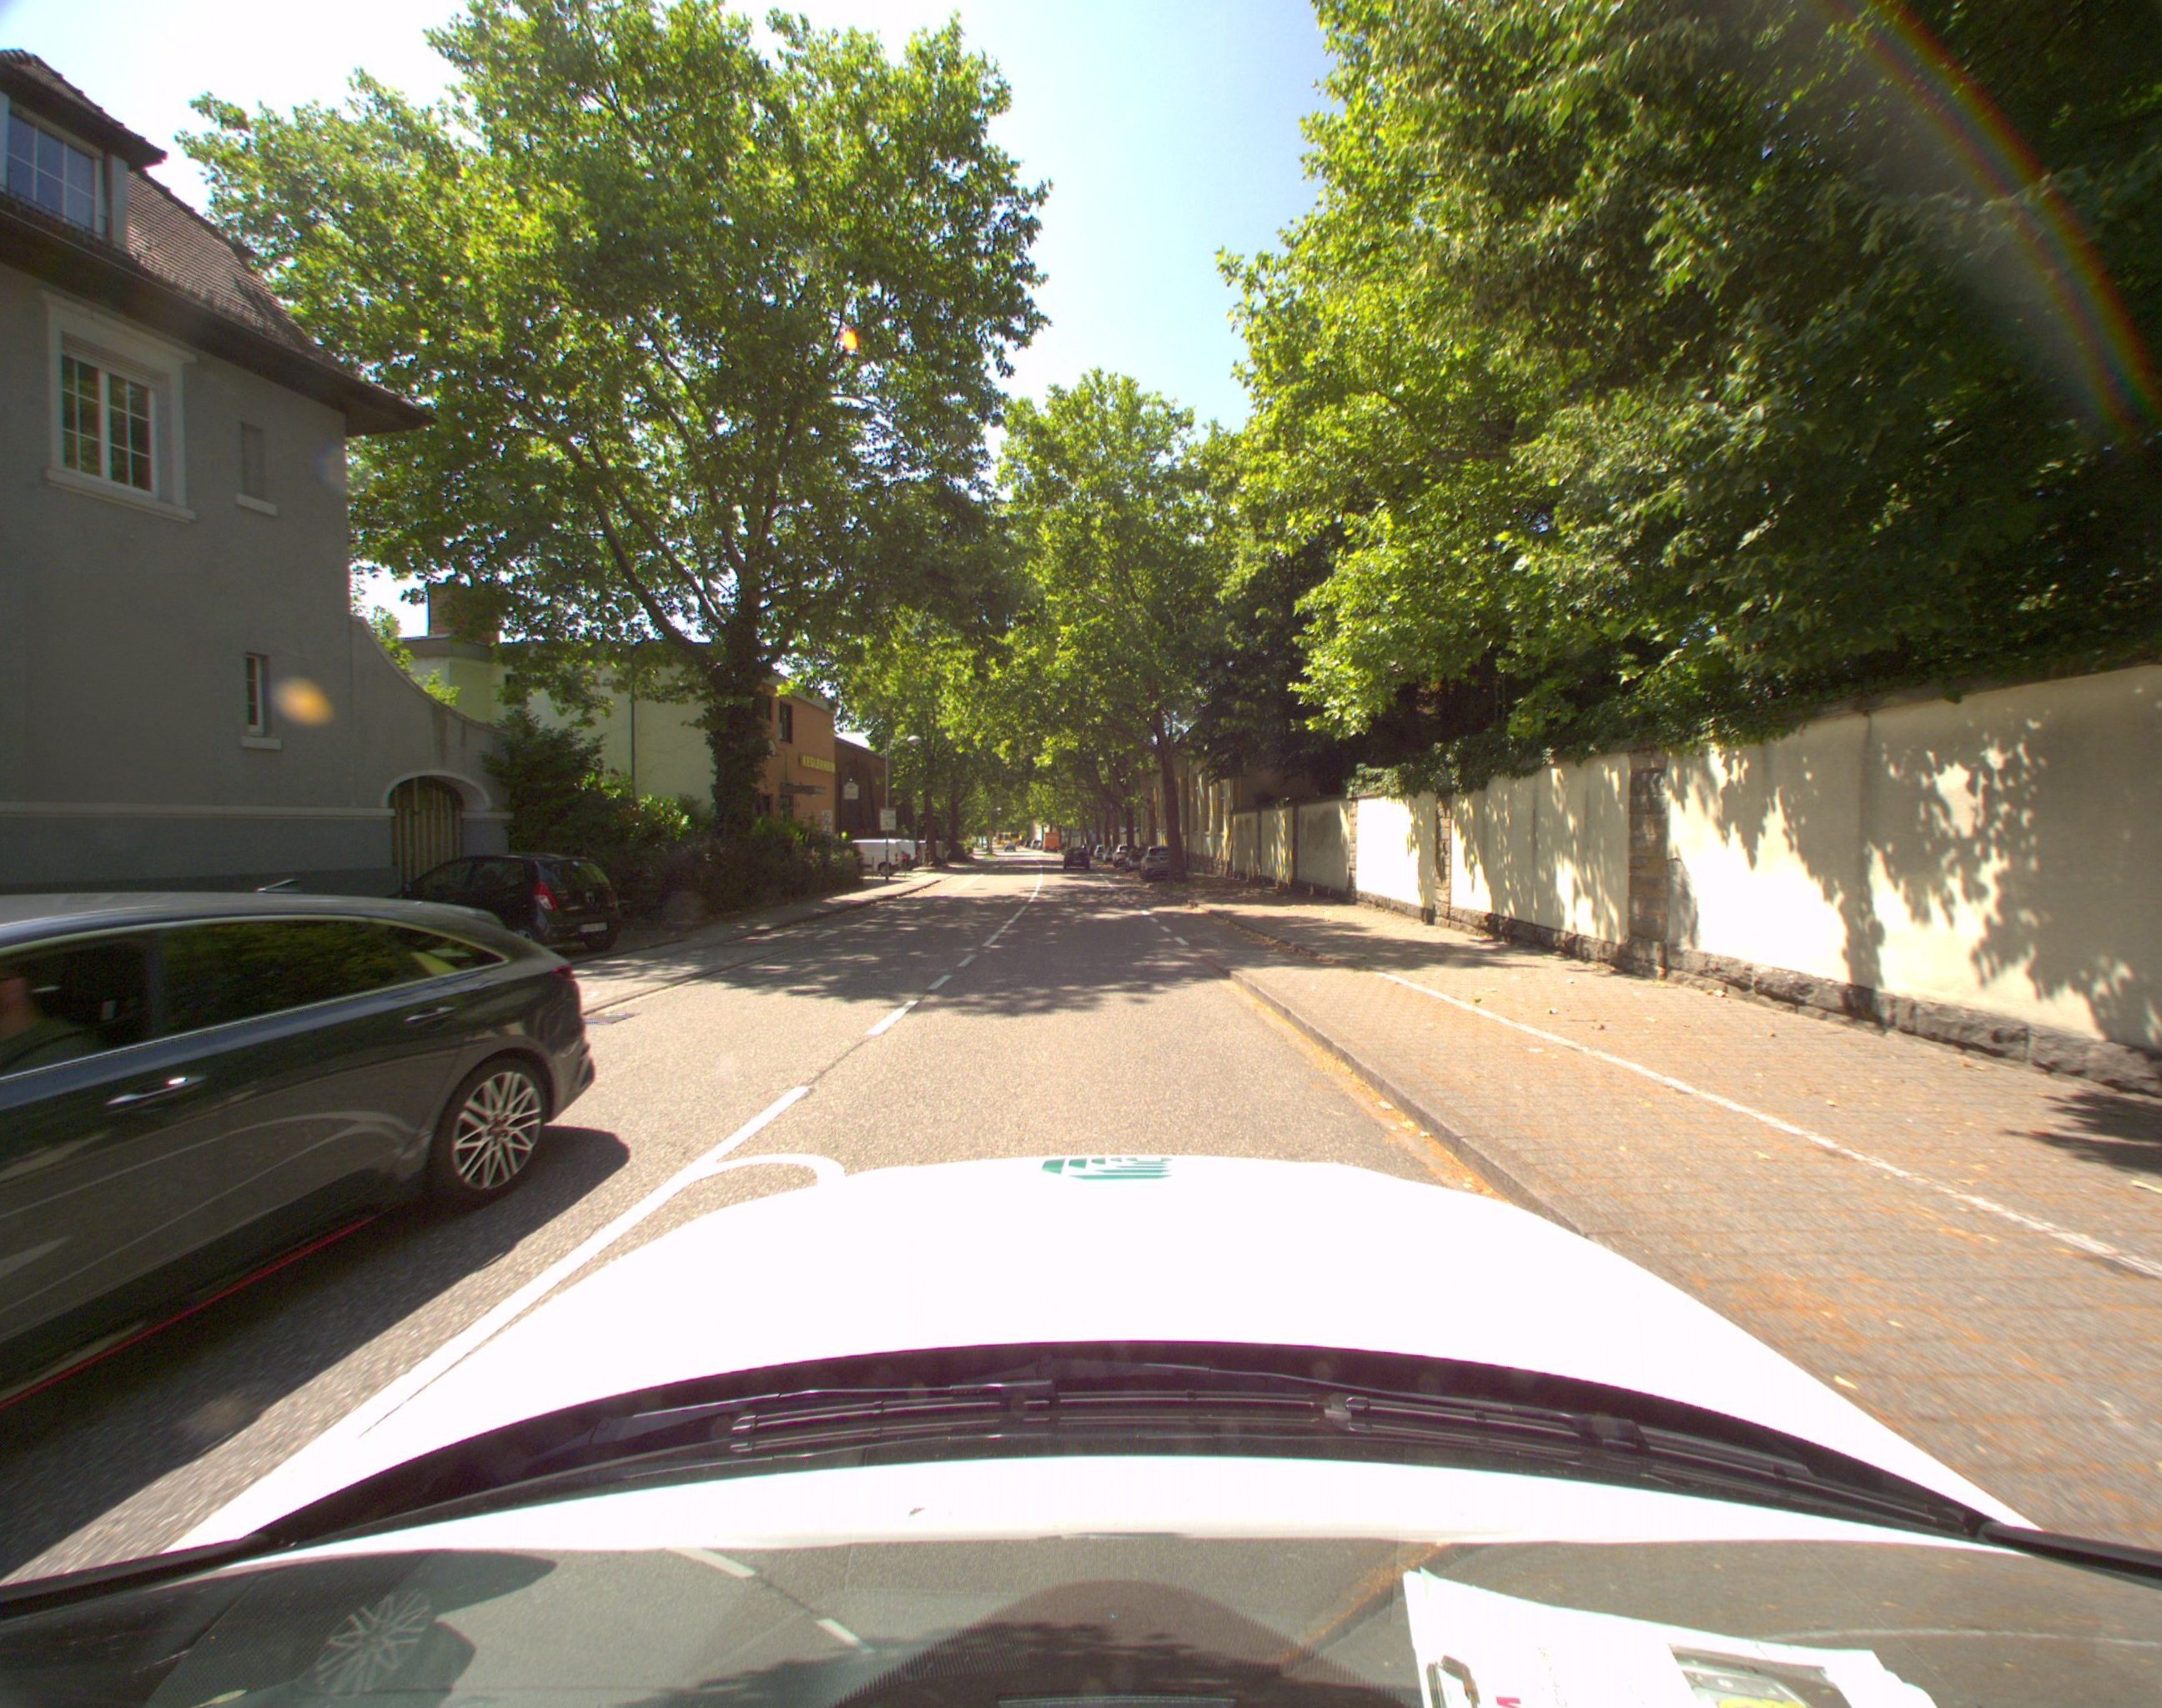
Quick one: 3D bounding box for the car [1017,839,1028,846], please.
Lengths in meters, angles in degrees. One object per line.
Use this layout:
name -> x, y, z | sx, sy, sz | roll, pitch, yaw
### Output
car -> -12.600, -2.409, 174.651 | 1.769, 1.374, 3.712 | -3, 1, -14

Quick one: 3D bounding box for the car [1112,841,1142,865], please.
car -> 3.373, -0.117, 60.584 | 1.803, 1.689, 4.749 | -2, 1, -1

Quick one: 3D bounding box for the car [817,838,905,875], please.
car -> -11.086, 0.106, 41.289 | 3.980, 1.792, 1.865 | 1, 1, -5

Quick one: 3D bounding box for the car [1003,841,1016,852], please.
car -> -12.126, -1.263, 137.441 | 1.992, 1.666, 3.990 | -1, 0, -7

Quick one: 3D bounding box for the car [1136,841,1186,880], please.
car -> 3.595, 0.242, 37.276 | 1.735, 1.557, 4.780 | -3, 2, 0

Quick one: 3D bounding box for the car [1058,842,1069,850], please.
car -> -3.117, -1.337, 143.511 | 1.764, 1.374, 3.722 | -1, 1, -6

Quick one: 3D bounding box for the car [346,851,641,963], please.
car -> -8.918, 0.770, 12.509 | 3.362, 1.546, 1.728 | -1, 1, 8

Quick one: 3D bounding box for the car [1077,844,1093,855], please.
car -> 0.522, -0.606, 108.086 | 1.764, 1.374, 3.722 | -2, 1, -6

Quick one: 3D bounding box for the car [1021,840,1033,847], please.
car -> -10.886, -2.042, 164.454 | 1.769, 1.374, 3.712 | -3, 1, -14

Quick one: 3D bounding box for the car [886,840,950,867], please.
car -> -11.265, -0.060, 56.448 | 4.121, 1.804, 1.900 | 1, 1, -5

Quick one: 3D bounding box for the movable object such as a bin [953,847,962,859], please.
movable object such as a bin -> -11.330, -0.140, 74.844 | 0.733, 1.078, 0.701 | -1, 1, -2

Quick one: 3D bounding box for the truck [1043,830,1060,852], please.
truck -> -4.532, -1.933, 124.331 | 2.366, 3.134, 5.761 | -1, 0, -4

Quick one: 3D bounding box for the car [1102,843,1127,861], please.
car -> 2.886, -0.183, 71.254 | 1.762, 1.433, 3.871 | -2, 1, -3

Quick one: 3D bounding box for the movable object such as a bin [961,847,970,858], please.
movable object such as a bin -> -10.613, -0.141, 74.804 | 0.621, 1.048, 0.621 | -1, 1, 2

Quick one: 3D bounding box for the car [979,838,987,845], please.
car -> -23.176, -2.890, 191.683 | 1.710, 1.447, 4.046 | -2, 1, -8

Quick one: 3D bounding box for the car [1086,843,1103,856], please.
car -> 1.628, -0.542, 98.418 | 1.762, 1.465, 3.871 | -2, 1, -3

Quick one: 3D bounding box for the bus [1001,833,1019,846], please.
bus -> -17.347, -3.473, 197.405 | 2.667, 3.150, 11.145 | -2, 1, -14

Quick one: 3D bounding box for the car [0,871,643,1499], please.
car -> -3.494, 0.865, 2.454 | 1.761, 1.426, 4.396 | -1, 1, 3

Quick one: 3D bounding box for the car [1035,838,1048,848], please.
car -> -7.027, -1.999, 144.632 | 1.879, 1.685, 3.988 | -1, 0, -9

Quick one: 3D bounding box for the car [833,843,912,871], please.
car -> -11.669, 0.142, 45.806 | 3.980, 1.515, 1.865 | 1, 1, -5

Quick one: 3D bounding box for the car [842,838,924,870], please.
car -> -11.710, -0.022, 48.399 | 4.415, 1.804, 1.900 | 1, 1, -5

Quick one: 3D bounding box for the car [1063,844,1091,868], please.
car -> -0.284, 0.102, 54.196 | 1.706, 1.447, 4.055 | -1, 2, -2

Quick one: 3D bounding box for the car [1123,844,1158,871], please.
car -> 3.506, 0.181, 48.890 | 1.617, 1.439, 4.430 | -2, 1, -1

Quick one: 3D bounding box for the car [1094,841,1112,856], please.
car -> 2.310, -0.571, 85.754 | 1.574, 1.465, 3.871 | -2, 1, -3

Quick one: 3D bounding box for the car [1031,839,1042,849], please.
car -> -8.371, -1.802, 151.831 | 1.877, 1.685, 3.991 | -1, 0, -6
